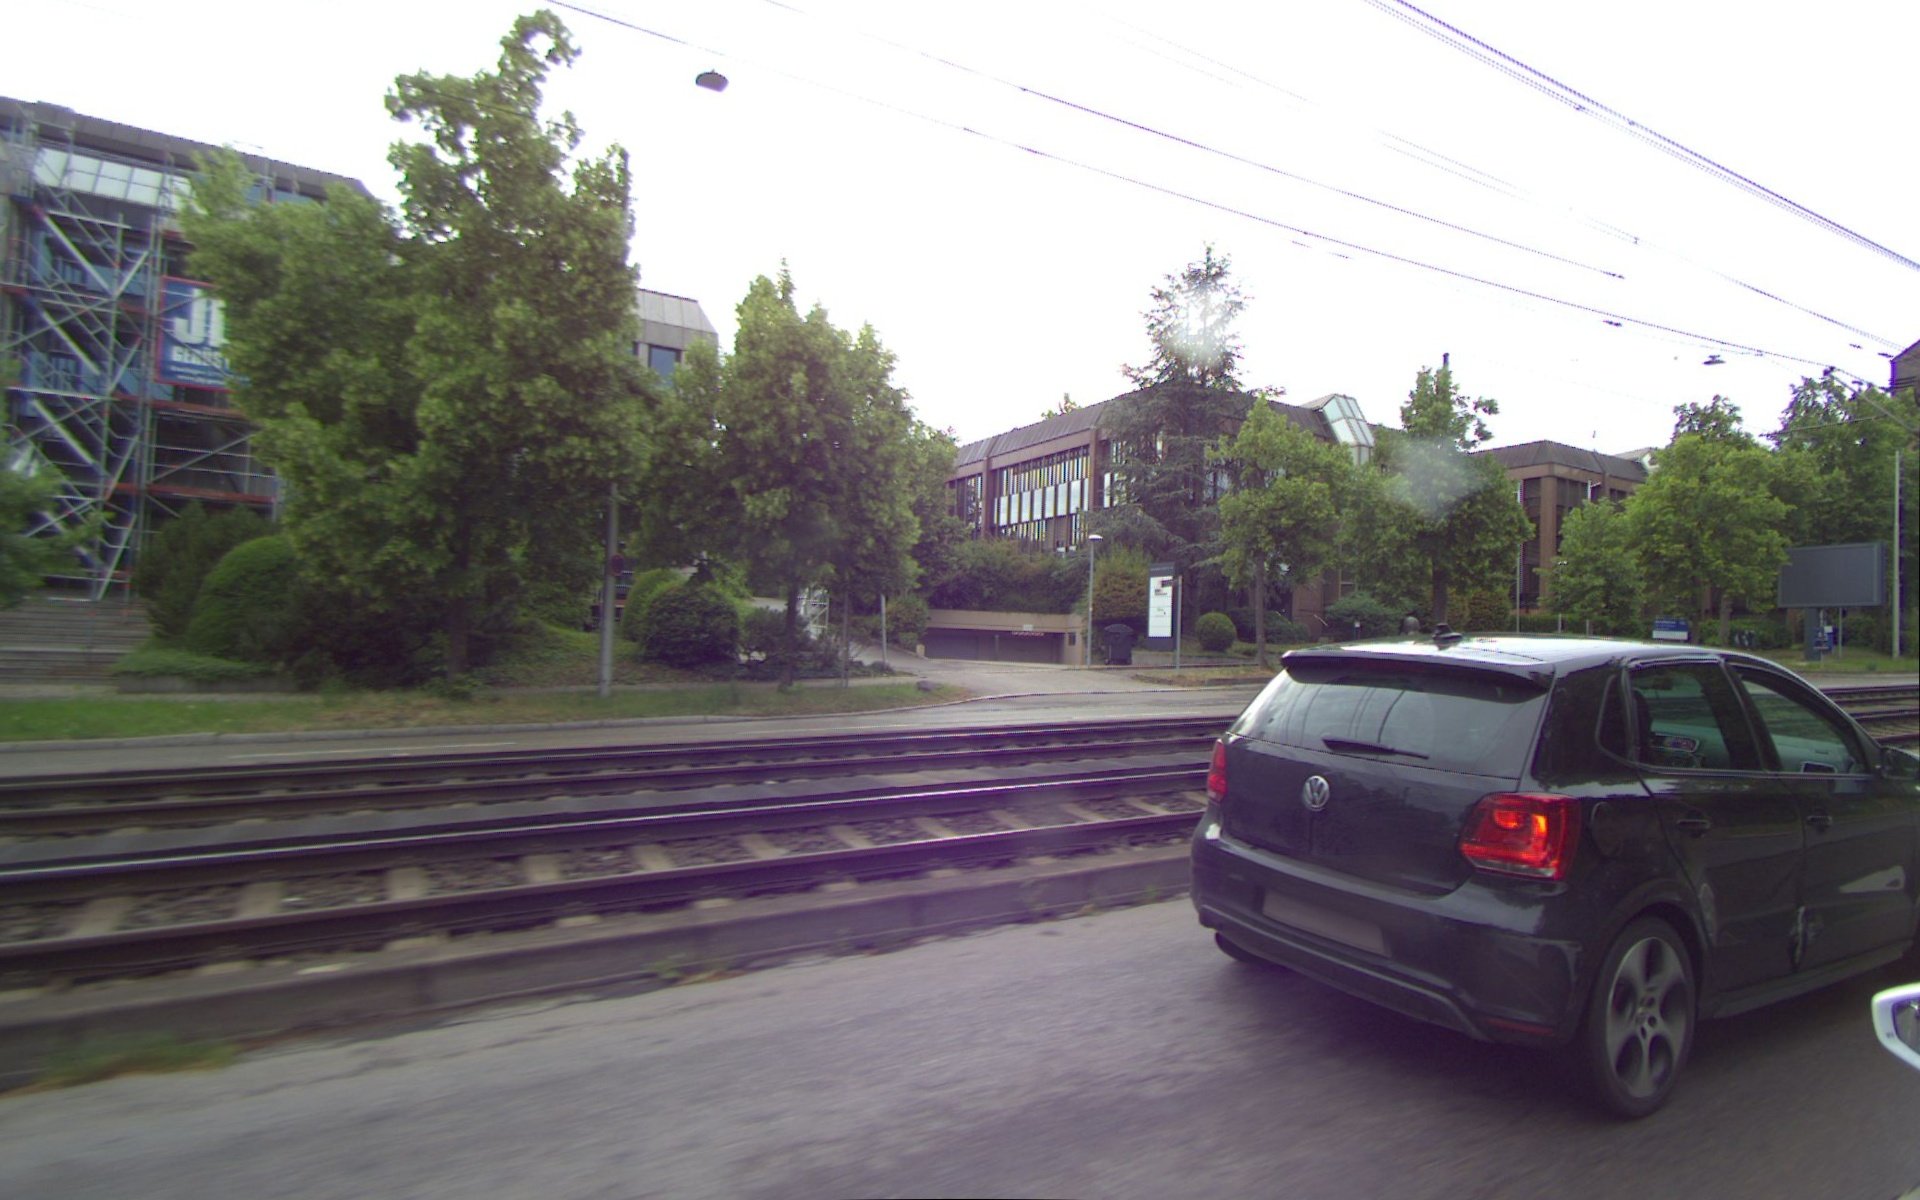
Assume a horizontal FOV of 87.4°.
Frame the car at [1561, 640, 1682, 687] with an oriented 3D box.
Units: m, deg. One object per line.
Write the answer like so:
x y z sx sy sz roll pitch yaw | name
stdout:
23.178 2.180 35.166 4.570 1.550 1.785 2 -2 -32 | car

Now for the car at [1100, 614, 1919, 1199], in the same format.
2.691 0.849 4.330 3.919 1.505 1.785 1 -2 -31 | car
